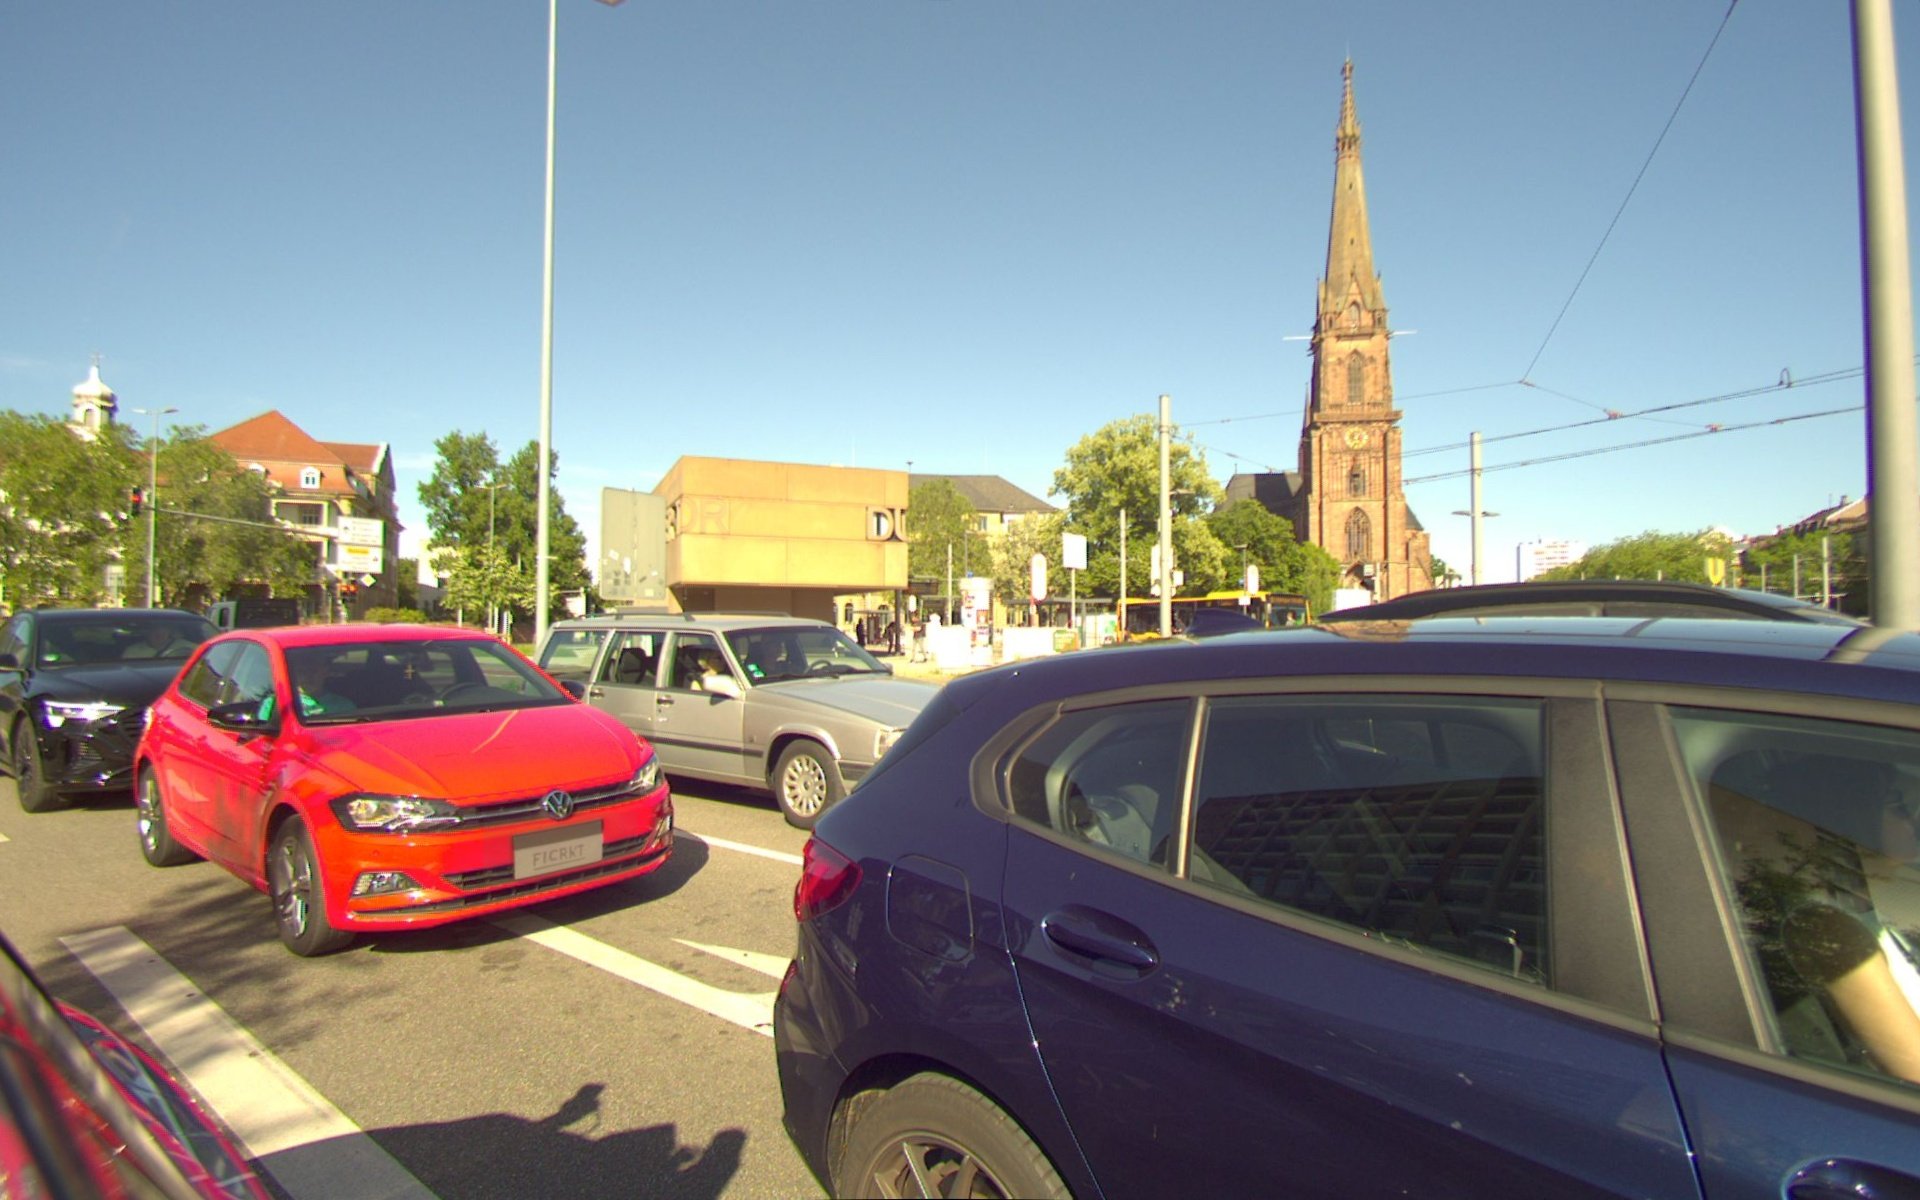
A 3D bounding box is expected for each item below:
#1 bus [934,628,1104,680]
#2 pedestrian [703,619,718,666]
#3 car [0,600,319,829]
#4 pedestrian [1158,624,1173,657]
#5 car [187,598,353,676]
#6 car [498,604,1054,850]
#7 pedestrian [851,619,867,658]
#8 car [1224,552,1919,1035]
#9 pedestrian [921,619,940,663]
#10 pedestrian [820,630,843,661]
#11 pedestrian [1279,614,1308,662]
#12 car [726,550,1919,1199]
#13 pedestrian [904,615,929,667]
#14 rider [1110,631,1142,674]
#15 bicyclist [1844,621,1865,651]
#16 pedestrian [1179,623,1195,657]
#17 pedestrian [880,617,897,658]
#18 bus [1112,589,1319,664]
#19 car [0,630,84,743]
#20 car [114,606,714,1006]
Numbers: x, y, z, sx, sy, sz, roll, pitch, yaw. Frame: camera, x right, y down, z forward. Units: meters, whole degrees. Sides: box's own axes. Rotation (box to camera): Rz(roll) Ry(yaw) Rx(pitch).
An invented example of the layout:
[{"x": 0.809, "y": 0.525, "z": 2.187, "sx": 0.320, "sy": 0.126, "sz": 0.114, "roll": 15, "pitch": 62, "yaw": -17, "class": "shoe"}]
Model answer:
[{"x": 1.487, "y": 1.360, "z": 26.154, "sx": 4.174, "sy": 1.251, "sz": 1.627, "roll": -1, "pitch": -2, "yaw": 35, "class": "bus"}, {"x": -9.516, "y": 1.611, "z": 38.573, "sx": 0.460, "sy": 1.789, "sz": 0.648, "roll": 0, "pitch": -2, "yaw": -21, "class": "pedestrian"}, {"x": -7.801, "y": 0.878, "z": 9.291, "sx": 4.446, "sy": 1.628, "sz": 1.836, "roll": -1, "pitch": -2, "yaw": 38, "class": "car"}, {"x": 9.516, "y": 1.862, "z": 46.917, "sx": 0.563, "sy": 1.525, "sz": 0.528, "roll": -1, "pitch": -1, "yaw": 0, "class": "pedestrian"}, {"x": -22.634, "y": 1.196, "z": 33.116, "sx": 6.191, "sy": 2.331, "sz": 2.095, "roll": -1, "pitch": -2, "yaw": 31, "class": "car"}, {"x": -1.707, "y": 0.828, "z": 8.224, "sx": 4.744, "sy": 1.484, "sz": 1.693, "roll": -2, "pitch": -2, "yaw": 37, "class": "car"}, {"x": -4.647, "y": 1.766, "z": 46.589, "sx": 0.468, "sy": 1.789, "sz": 0.638, "roll": -2, "pitch": -2, "yaw": 36, "class": "pedestrian"}, {"x": 3.329, "y": 0.629, "z": 4.138, "sx": 4.010, "sy": 1.529, "sz": 1.738, "roll": -2, "pitch": -2, "yaw": 44, "class": "car"}, {"x": -1.207, "y": 1.649, "z": 40.962, "sx": 0.634, "sy": 1.789, "sz": 0.470, "roll": 1, "pitch": -2, "yaw": -29, "class": "pedestrian"}, {"x": -5.479, "y": 1.923, "z": 43.189, "sx": 0.635, "sy": 1.320, "sz": 0.764, "roll": 1, "pitch": -2, "yaw": -40, "class": "pedestrian"}, {"x": 13.016, "y": 1.474, "z": 39.503, "sx": 0.882, "sy": 1.869, "sz": 0.679, "roll": -2, "pitch": -3, "yaw": 41, "class": "pedestrian"}, {"x": 1.583, "y": 0.677, "z": 1.375, "sx": 4.030, "sy": 1.456, "sz": 1.692, "roll": -1, "pitch": -1, "yaw": 42, "class": "car"}, {"x": -1.524, "y": 1.427, "z": 35.337, "sx": 0.663, "sy": 1.802, "sz": 0.641, "roll": -1, "pitch": -1, "yaw": 21, "class": "pedestrian"}, {"x": 5.777, "y": 1.811, "z": 35.230, "sx": 0.846, "sy": 1.475, "sz": 0.672, "roll": 0, "pitch": -2, "yaw": -18, "class": "rider"}, {"x": 44.796, "y": 1.796, "z": 50.688, "sx": 0.677, "sy": 1.466, "sz": 0.775, "roll": -2, "pitch": -3, "yaw": 35, "class": "bicyclist"}, {"x": 10.490, "y": 1.845, "z": 46.792, "sx": 0.553, "sy": 1.525, "sz": 0.528, "roll": -1, "pitch": -1, "yaw": 0, "class": "pedestrian"}, {"x": -3.158, "y": 1.654, "z": 44.870, "sx": 0.468, "sy": 1.789, "sz": 0.638, "roll": -2, "pitch": -2, "yaw": 36, "class": "pedestrian"}, {"x": 11.634, "y": 1.318, "z": 48.103, "sx": 2.715, "sy": 3.088, "sz": 12.201, "roll": 1, "pitch": -2, "yaw": -23, "class": "bus"}, {"x": -13.618, "y": 1.130, "z": 13.877, "sx": 3.704, "sy": 1.429, "sz": 1.557, "roll": -1, "pitch": -2, "yaw": 35, "class": "car"}, {"x": -3.232, "y": 0.810, "z": 5.659, "sx": 3.850, "sy": 1.484, "sz": 1.653, "roll": -2, "pitch": -1, "yaw": 40, "class": "car"}]
